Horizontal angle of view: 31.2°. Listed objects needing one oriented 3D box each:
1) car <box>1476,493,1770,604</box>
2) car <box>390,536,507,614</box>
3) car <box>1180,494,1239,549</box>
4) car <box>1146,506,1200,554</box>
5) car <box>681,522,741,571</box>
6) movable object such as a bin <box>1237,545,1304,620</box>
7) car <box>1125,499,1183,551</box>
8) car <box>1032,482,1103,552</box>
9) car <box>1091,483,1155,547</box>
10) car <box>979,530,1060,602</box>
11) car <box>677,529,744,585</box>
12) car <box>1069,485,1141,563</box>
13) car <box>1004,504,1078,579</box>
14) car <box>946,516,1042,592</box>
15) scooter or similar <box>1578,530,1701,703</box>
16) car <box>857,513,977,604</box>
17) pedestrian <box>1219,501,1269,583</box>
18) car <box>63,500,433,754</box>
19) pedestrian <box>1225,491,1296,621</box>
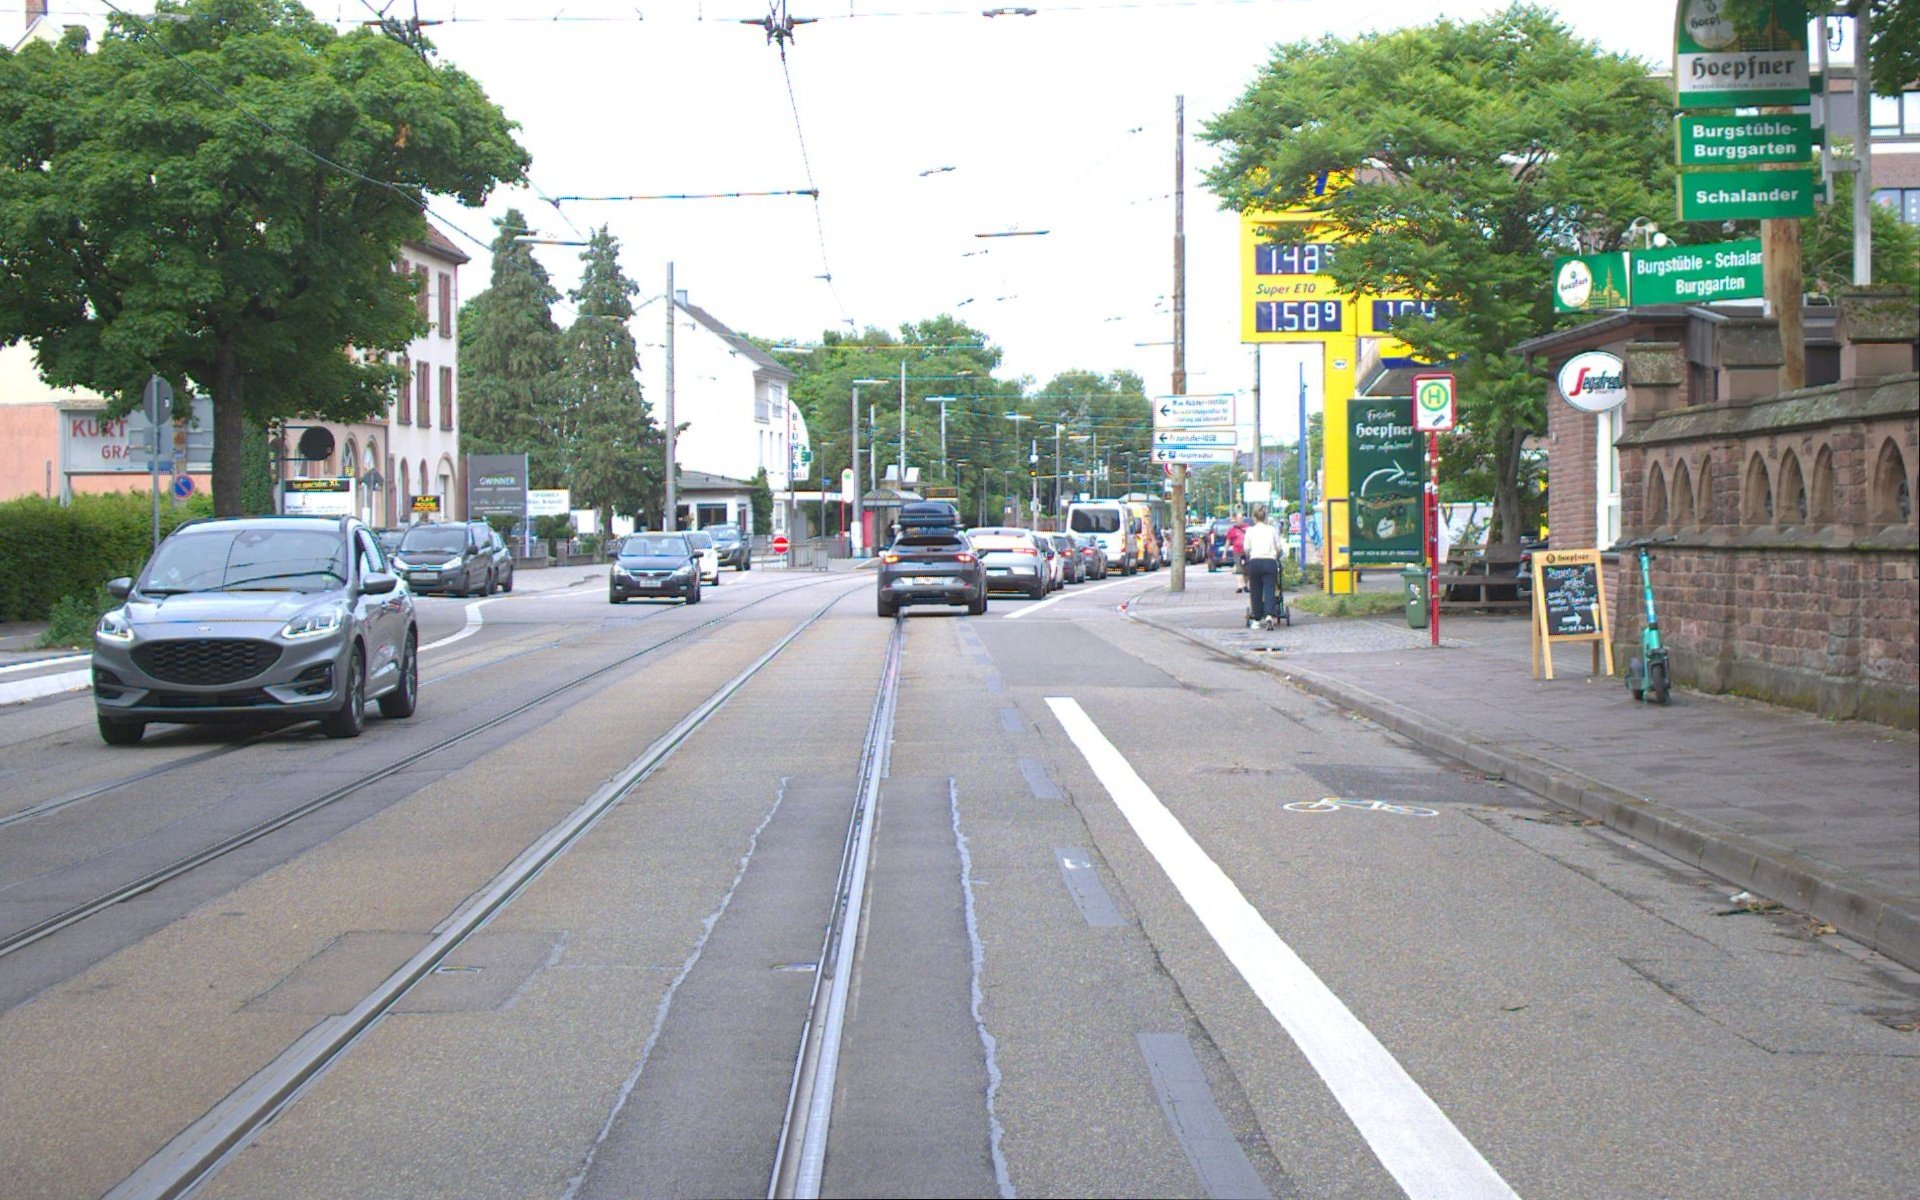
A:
[{"bbox_3d":[9.502,-0.753,49.039,1.934,1.402,4.573,0,3,44],"label":"car"},{"bbox_3d":[-12.872,-0.655,86.855,1.992,1.880,4.998,1,1,2],"label":"car"},{"bbox_3d":[8.556,-2.689,118.314,1.874,1.817,4.096,1,1,3],"label":"car"},{"bbox_3d":[9.110,-3.007,147.321,1.993,2.007,4.000,1,1,-1],"label":"car"},{"bbox_3d":[-8.924,-1.936,123.663,1.827,1.731,4.335,-1,1,0],"label":"car"},{"bbox_3d":[4.491,-0.260,49.677,0.768,1.035,1.023,-2,1,14],"label":"movable object such as a bin"},{"bbox_3d":[7.643,-2.967,135.970,1.993,2.007,4.000,1,1,-1],"label":"car"},{"bbox_3d":[3.233,-2.452,102.446,1.994,2.007,4.000,1,1,3],"label":"car"},{"bbox_3d":[5.663,-2.937,119.320,2.139,2.138,4.743,1,1,3],"label":"car"},{"bbox_3d":[1.508,-0.888,87.131,1.969,1.750,3.838,1,1,1],"label":"car"},{"bbox_3d":[-6.944,-1.216,95.987,1.703,1.524,3.742,0,1,-2],"label":"car"},{"bbox_3d":[4.628,-2.421,110.220,2.216,2.415,4.951,1,1,2],"label":"car"},{"bbox_3d":[2.284,-1.633,96.090,1.993,2.007,4.000,1,1,2],"label":"car"},{"bbox_3d":[0.703,-1.015,74.493,1.981,1.544,4.184,1,2,0],"label":"car"},{"bbox_3d":[5.137,0.110,26.044,0.577,1.235,1.410,-4,1,0],"label":"scooter or similar"},{"bbox_3d":[-0.733,-0.737,60.105,1.990,1.492,4.326,1,1,0],"label":"car"},{"bbox_3d":[6.174,-1.268,74.740,0.972,1.732,0.861,-2,1,3],"label":"pedestrian"},{"bbox_3d":[-5.249,0.123,25.922,1.842,1.648,4.390,-3,2,0],"label":"car"},{"bbox_3d":[4.273,-0.629,48.852,0.768,1.790,1.161,-2,1,14],"label":"pedestrian"}]
